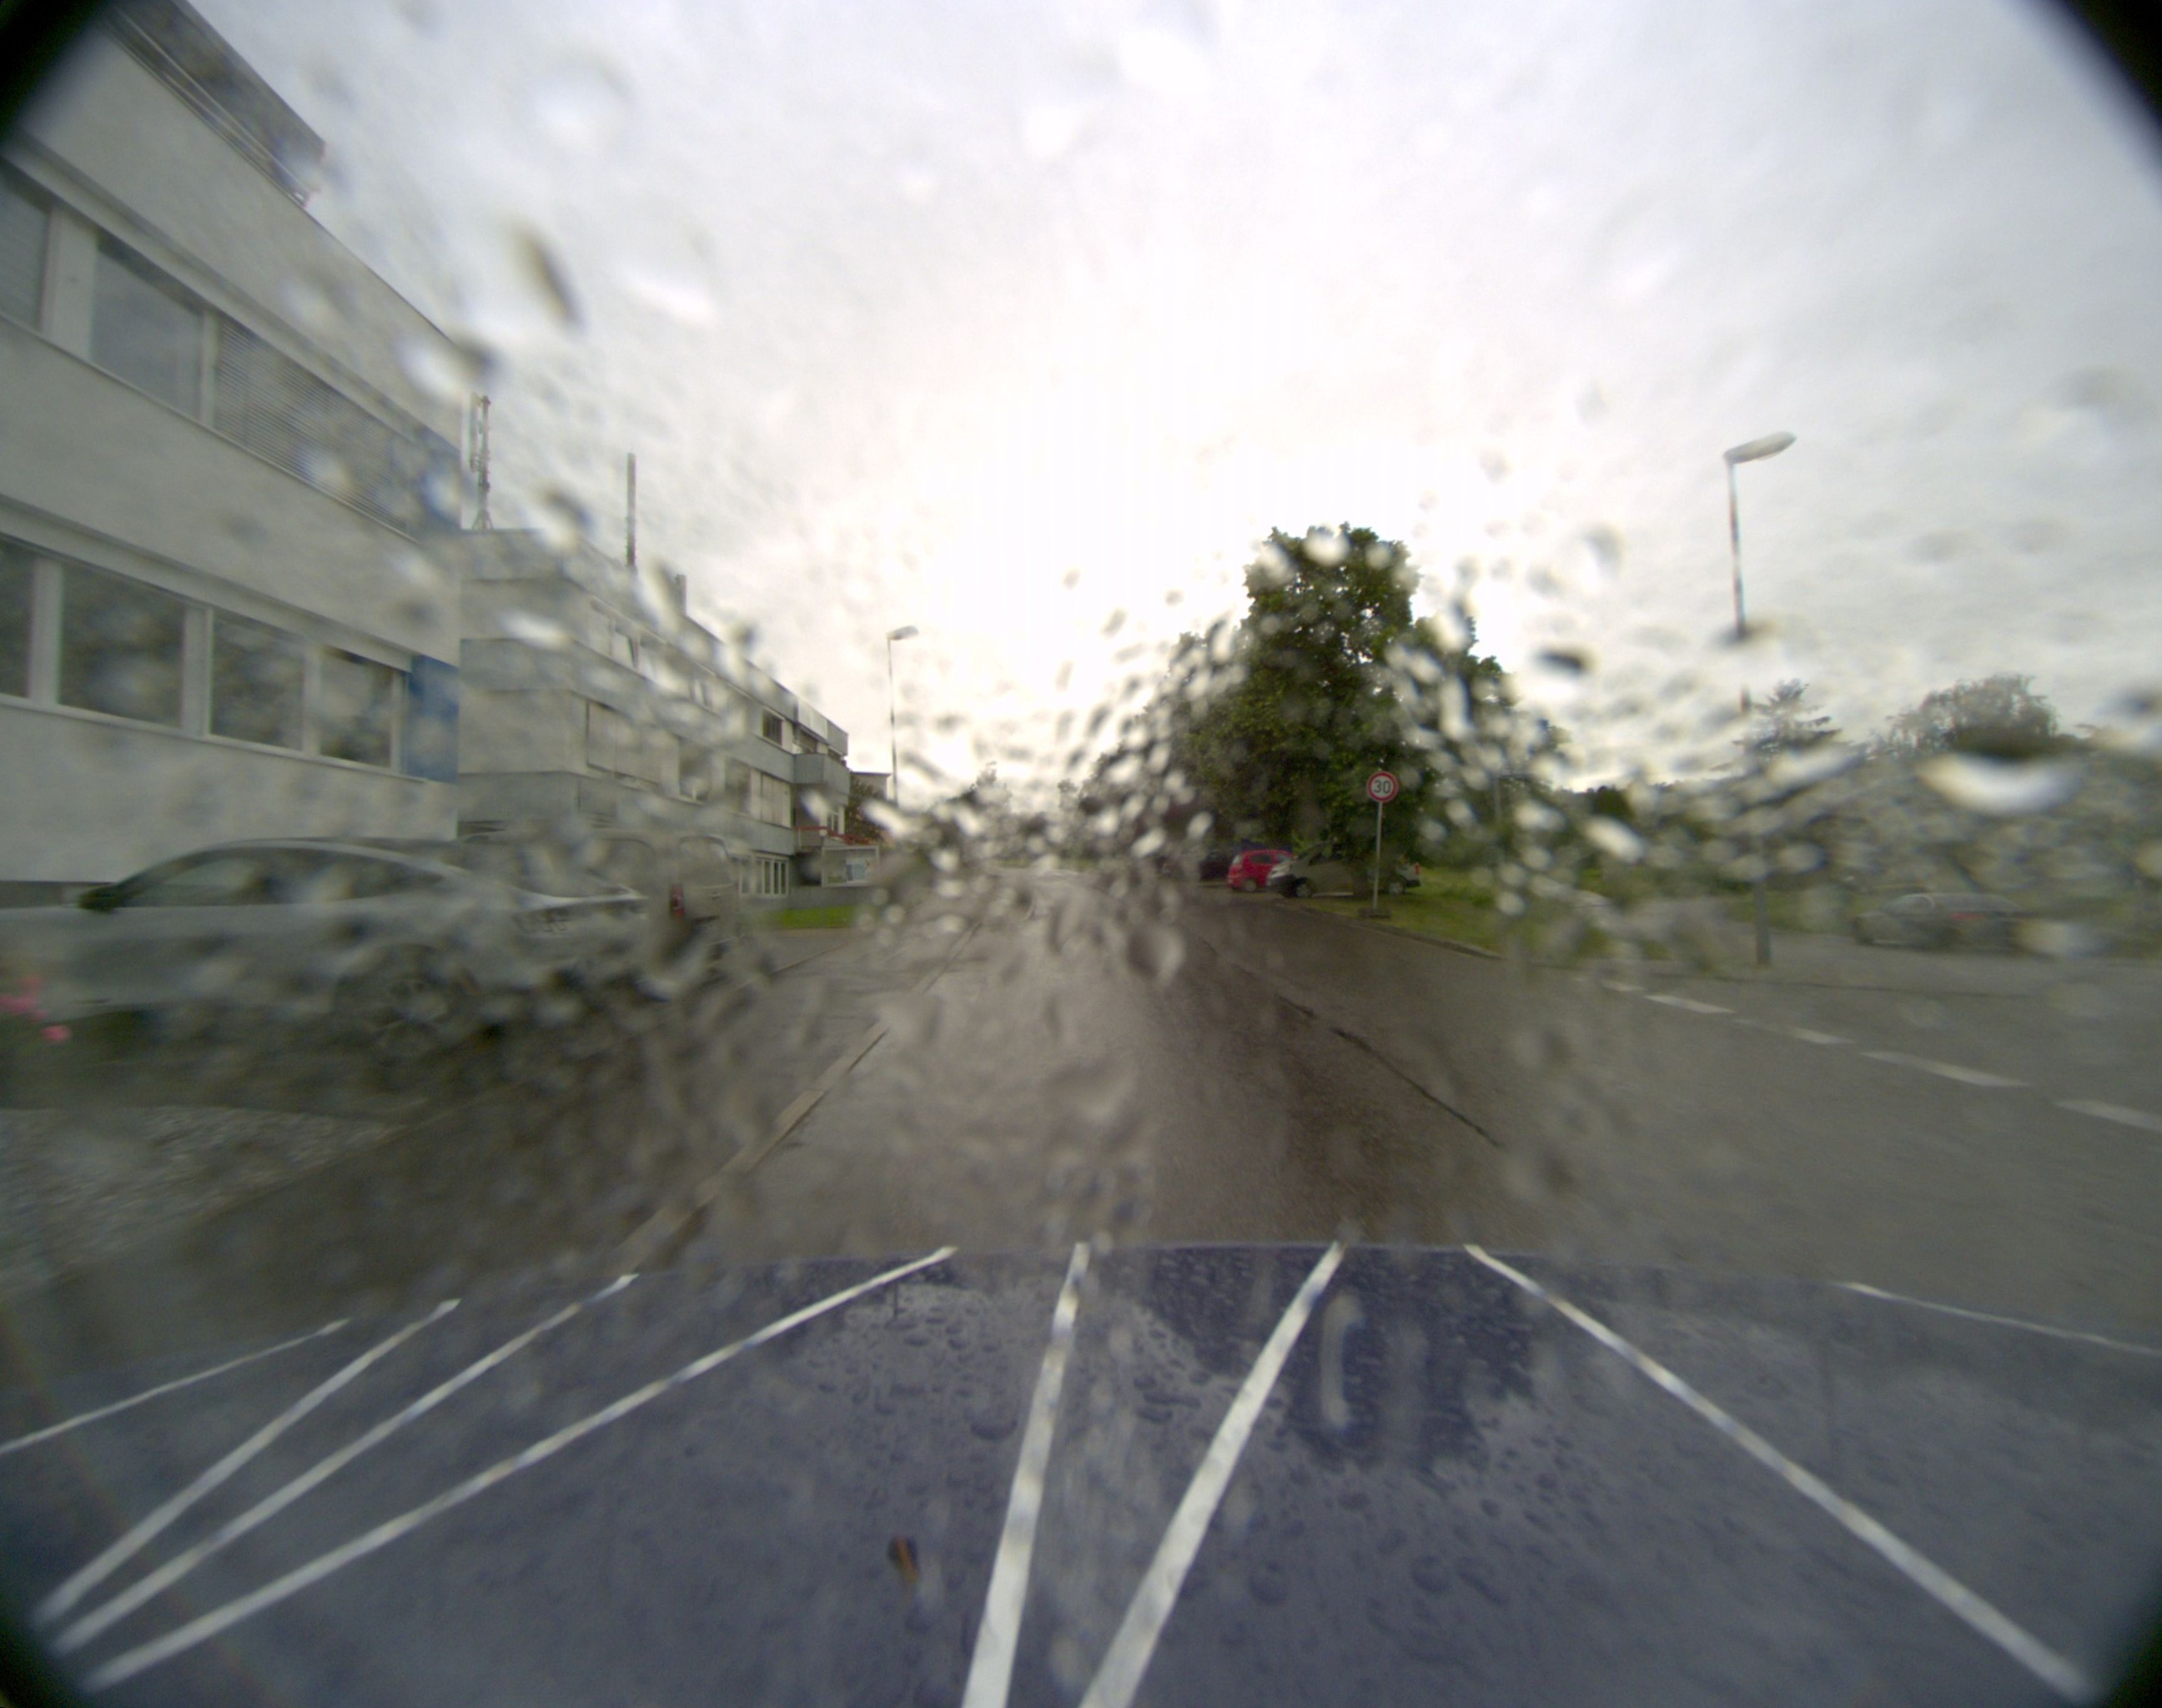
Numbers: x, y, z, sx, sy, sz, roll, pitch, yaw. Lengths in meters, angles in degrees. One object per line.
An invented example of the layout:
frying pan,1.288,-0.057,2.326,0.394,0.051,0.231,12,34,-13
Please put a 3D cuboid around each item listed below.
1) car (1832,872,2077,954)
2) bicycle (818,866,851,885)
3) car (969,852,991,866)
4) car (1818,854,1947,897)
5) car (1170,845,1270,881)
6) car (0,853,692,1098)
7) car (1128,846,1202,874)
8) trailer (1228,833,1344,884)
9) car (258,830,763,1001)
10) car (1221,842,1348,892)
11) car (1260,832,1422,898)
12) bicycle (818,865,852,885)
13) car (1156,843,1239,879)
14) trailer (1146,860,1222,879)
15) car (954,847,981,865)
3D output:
car,21.142,1.403,18.733,1.996,1.742,4.392,0,-3,19
bicycle,-11.696,1.013,36.069,1.423,0.825,0.285,-1,1,-24
car,-12.970,0.600,97.211,1.819,1.717,4.643,-1,1,-21
car,44.037,1.156,41.886,4.493,2.207,1.933,1,0,18
car,7.001,0.435,38.613,4.630,1.581,1.805,-3,1,-3
car,-5.895,0.795,5.949,4.609,1.529,2.079,1,0,-1
car,5.398,0.366,49.167,4.381,1.712,2.043,-1,1,-7
trailer,8.340,0.148,31.096,4.224,1.973,1.773,-1,1,-3
car,-6.395,0.637,9.033,4.352,1.763,2.088,0,0,-2
car,7.495,0.448,28.187,4.209,1.712,1.754,-1,1,-6
car,7.812,0.315,23.132,4.310,1.895,1.862,-1,1,2
bicycle,-11.581,0.980,35.792,1.473,0.897,0.285,-1,1,-24
car,6.273,0.380,41.288,4.085,1.712,2.025,-3,1,-2
trailer,5.924,0.882,43.929,3.953,0.955,1.999,-2,0,-5
car,-15.362,0.242,102.726,2.057,2.317,5.396,-1,0,-26
